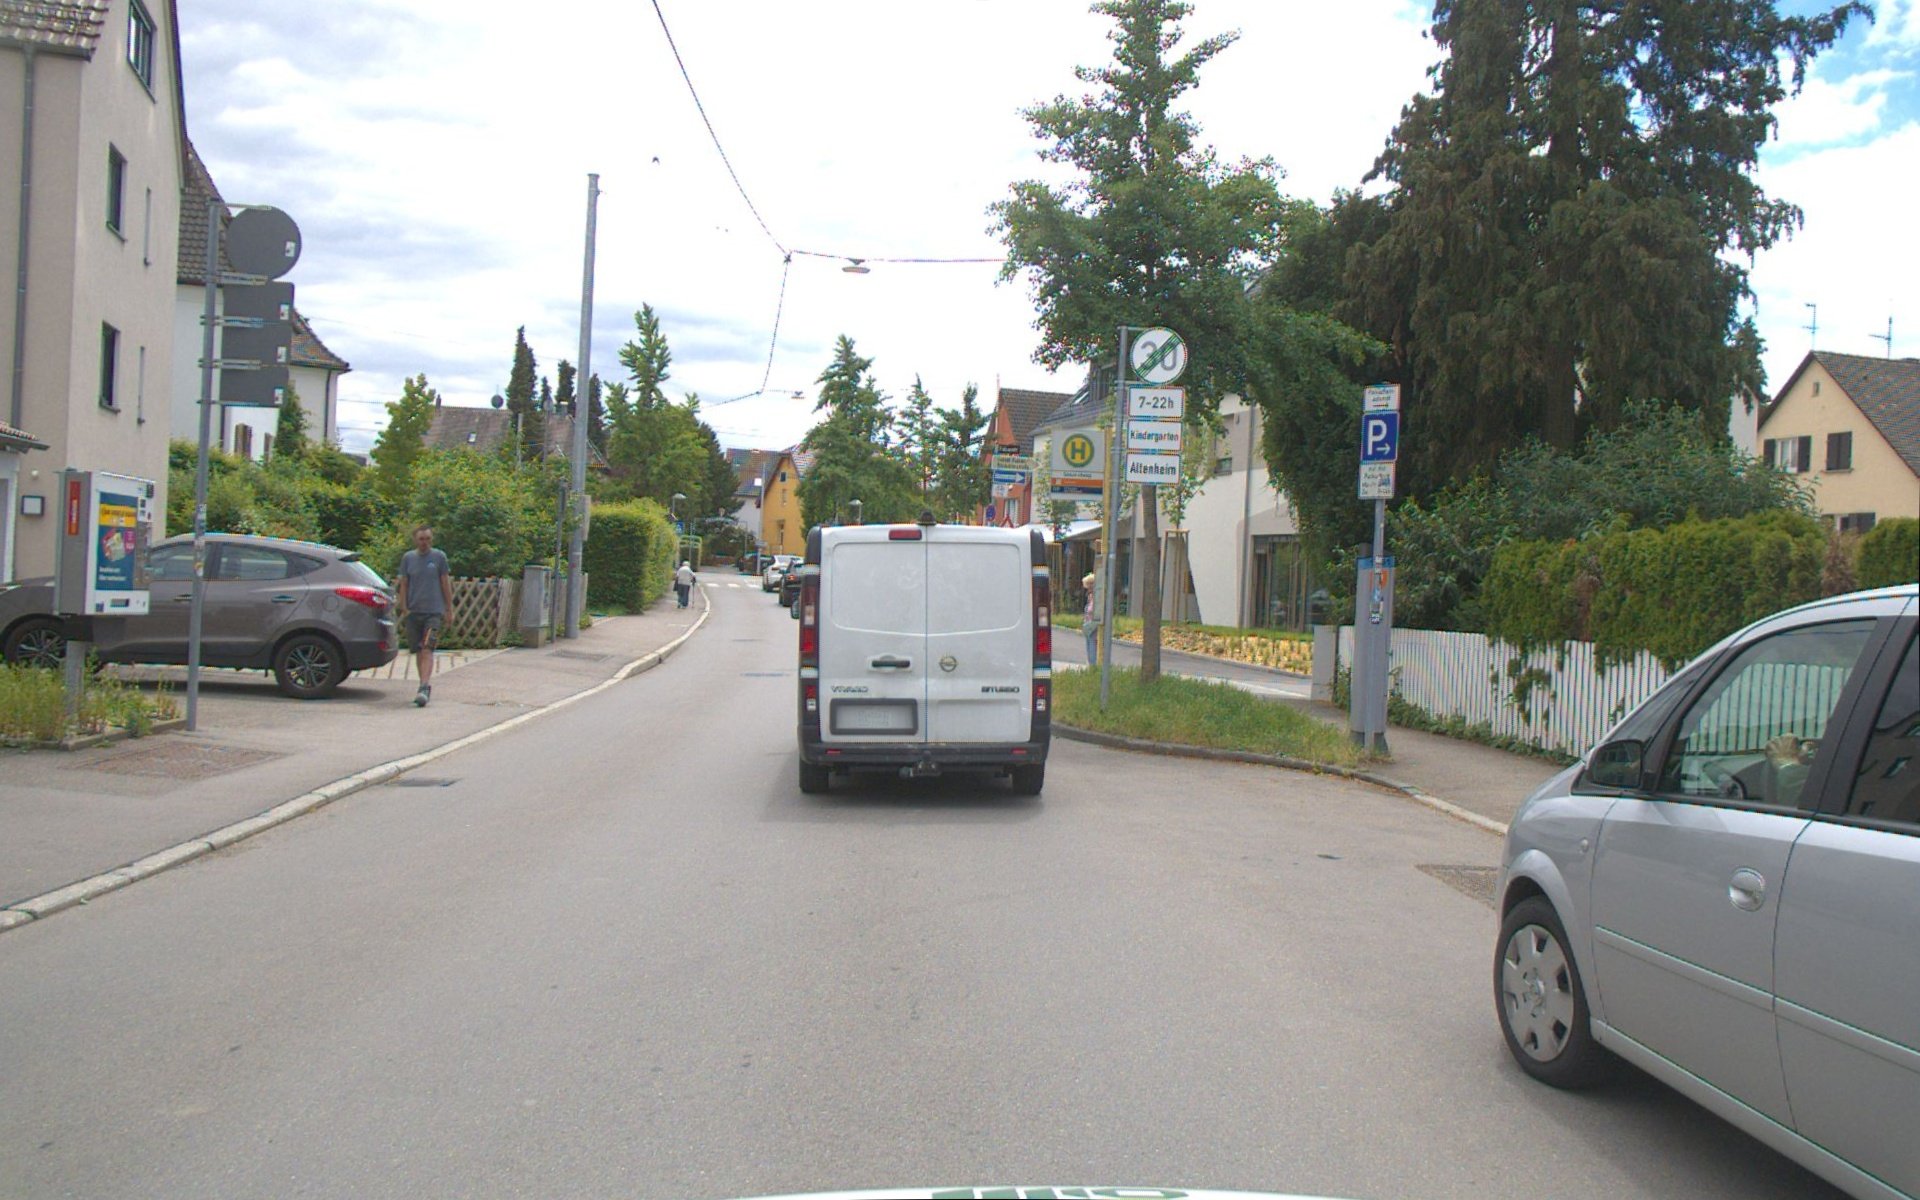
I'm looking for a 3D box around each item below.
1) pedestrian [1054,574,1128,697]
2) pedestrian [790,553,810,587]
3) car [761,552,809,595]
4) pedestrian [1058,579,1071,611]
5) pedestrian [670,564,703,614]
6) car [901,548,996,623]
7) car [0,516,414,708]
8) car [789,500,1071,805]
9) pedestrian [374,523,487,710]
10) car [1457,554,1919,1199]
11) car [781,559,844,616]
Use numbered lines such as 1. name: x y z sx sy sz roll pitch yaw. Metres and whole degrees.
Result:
1. pedestrian: 1.879 0.506 23.850 0.837 1.673 0.883 4 0 -3
2. pedestrian: -8.077 -1.507 83.528 0.791 1.637 0.625 4 0 -13
3. car: -7.925 -1.195 74.604 1.956 1.813 3.993 1 0 -8
4. pedestrian: 4.042 -0.193 63.857 0.413 1.202 0.323 2 0 -11
5. pedestrian: -8.809 -0.357 53.247 0.866 1.510 0.451 5 0 -28
6. car: -0.401 -0.433 48.480 1.922 1.949 4.891 4 0 -9
7. car: -8.388 0.123 18.281 4.240 1.725 1.791 5 0 -15
8. car: -0.401 0.359 13.526 1.879 2.037 4.432 2 0 -5
9. pedestrian: -5.903 0.178 18.492 0.718 1.979 1.217 4 0 0
10. car: 2.781 0.724 4.004 1.724 1.610 4.015 1 0 -4
11. car: -5.236 -0.456 58.412 1.956 1.880 3.993 2 0 -8
